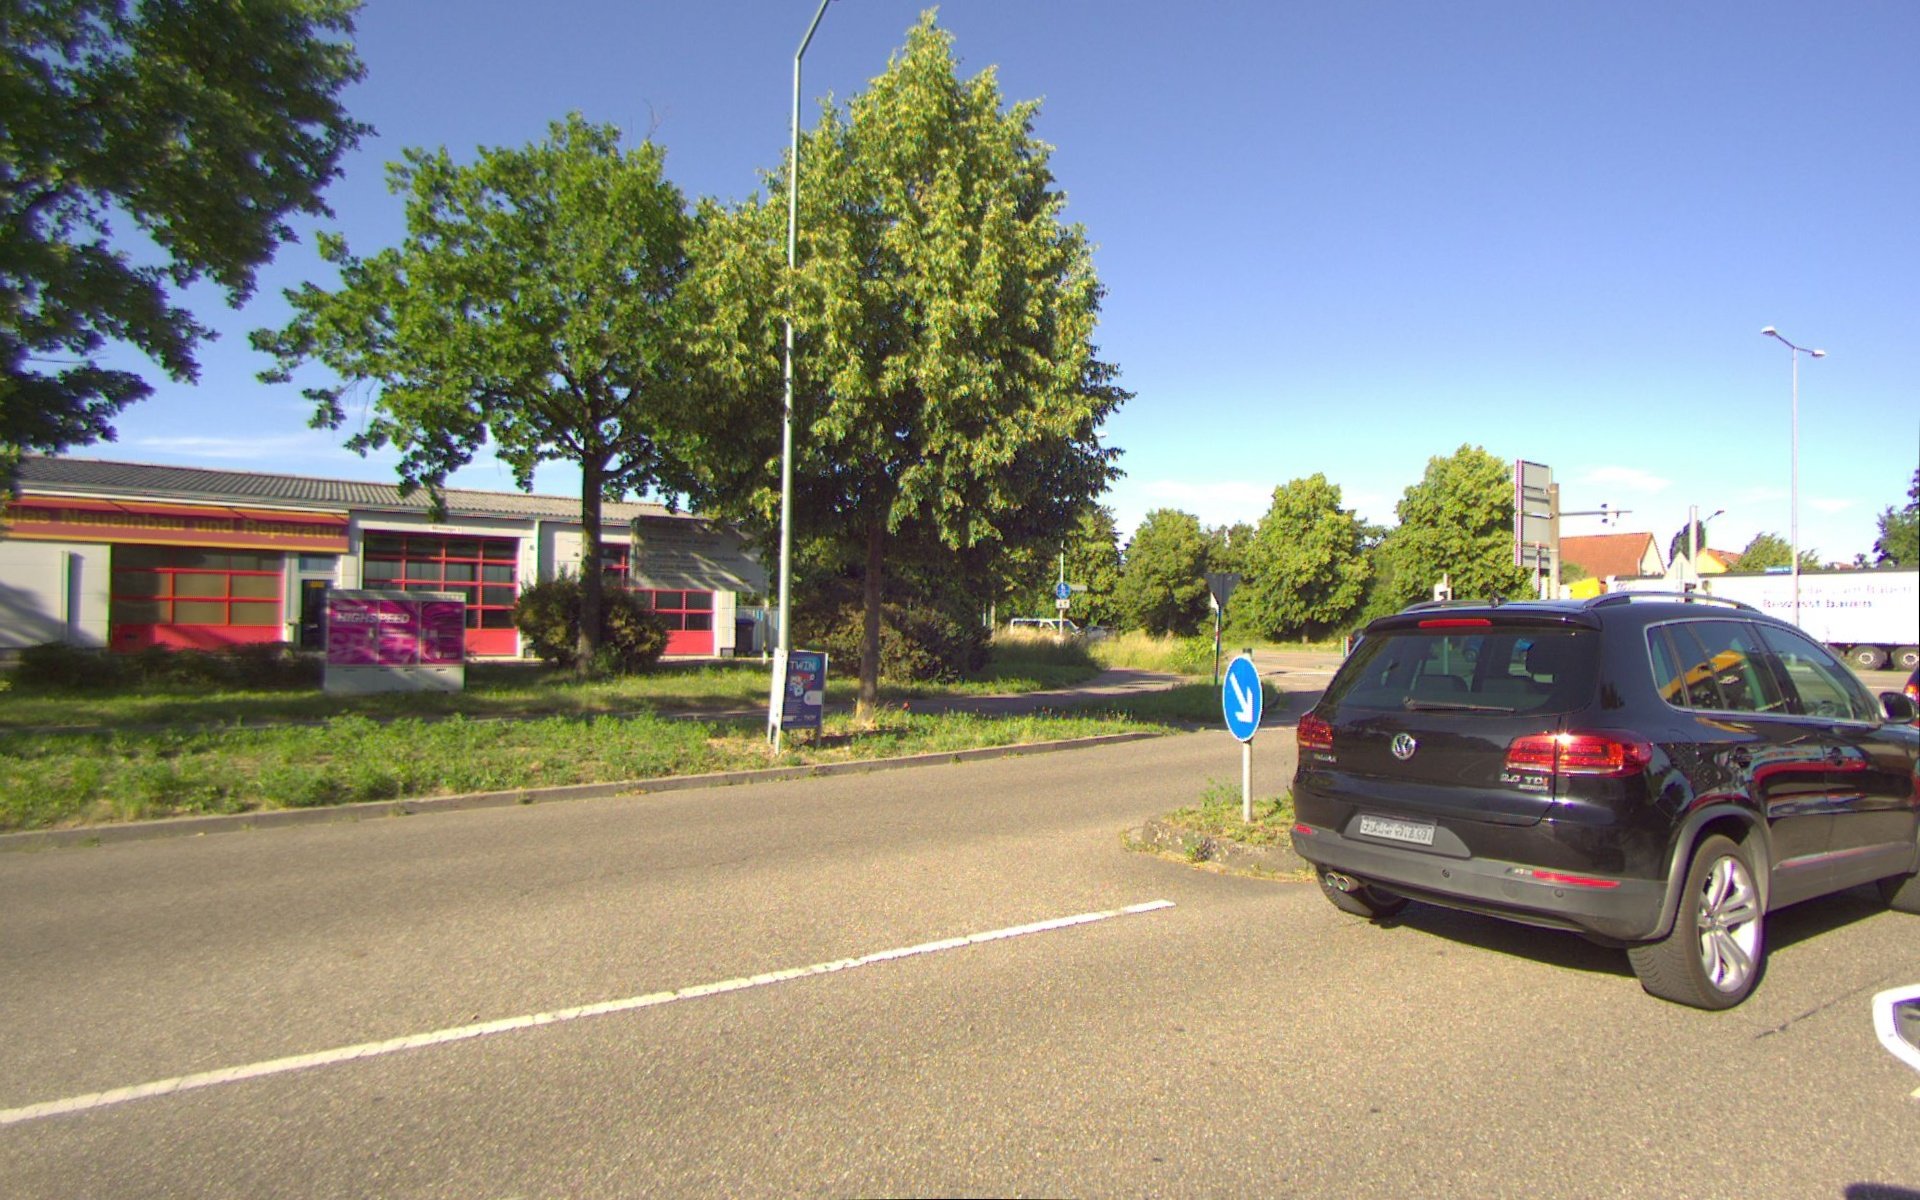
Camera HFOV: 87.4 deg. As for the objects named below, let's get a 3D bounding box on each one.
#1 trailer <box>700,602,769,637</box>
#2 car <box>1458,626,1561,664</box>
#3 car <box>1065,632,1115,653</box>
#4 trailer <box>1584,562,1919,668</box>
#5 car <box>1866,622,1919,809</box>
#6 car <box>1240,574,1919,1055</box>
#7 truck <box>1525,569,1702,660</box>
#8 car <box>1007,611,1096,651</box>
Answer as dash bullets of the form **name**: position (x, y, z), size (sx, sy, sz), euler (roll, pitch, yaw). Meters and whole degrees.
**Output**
- **trailer**: position (-30.649, 2.554, 135.655), size (3.408, 4.241, 15.204), euler (2, 0, -36)
- **car**: position (23.757, 1.911, 43.497), size (1.733, 1.581, 3.559), euler (2, -2, -35)
- **car**: position (9.830, 3.214, 76.258), size (1.567, 1.478, 3.547), euler (2, -2, -45)
- **trailer**: position (35.462, 0.650, 43.195), size (3.407, 4.066, 14.559), euler (1, -1, -35)
- **car**: position (10.231, 1.011, 9.215), size (3.954, 1.610, 1.753), euler (1, -3, -31)
- **car**: position (3.554, 0.826, 5.315), size (3.954, 1.675, 1.763), euler (1, -3, -31)
- **truck**: position (31.571, 0.726, 48.743), size (3.407, 4.066, 6.432), euler (1, -1, -35)
- **car**: position (5.225, 1.766, 57.986), size (2.160, 2.146, 5.350), euler (2, -1, -35)
